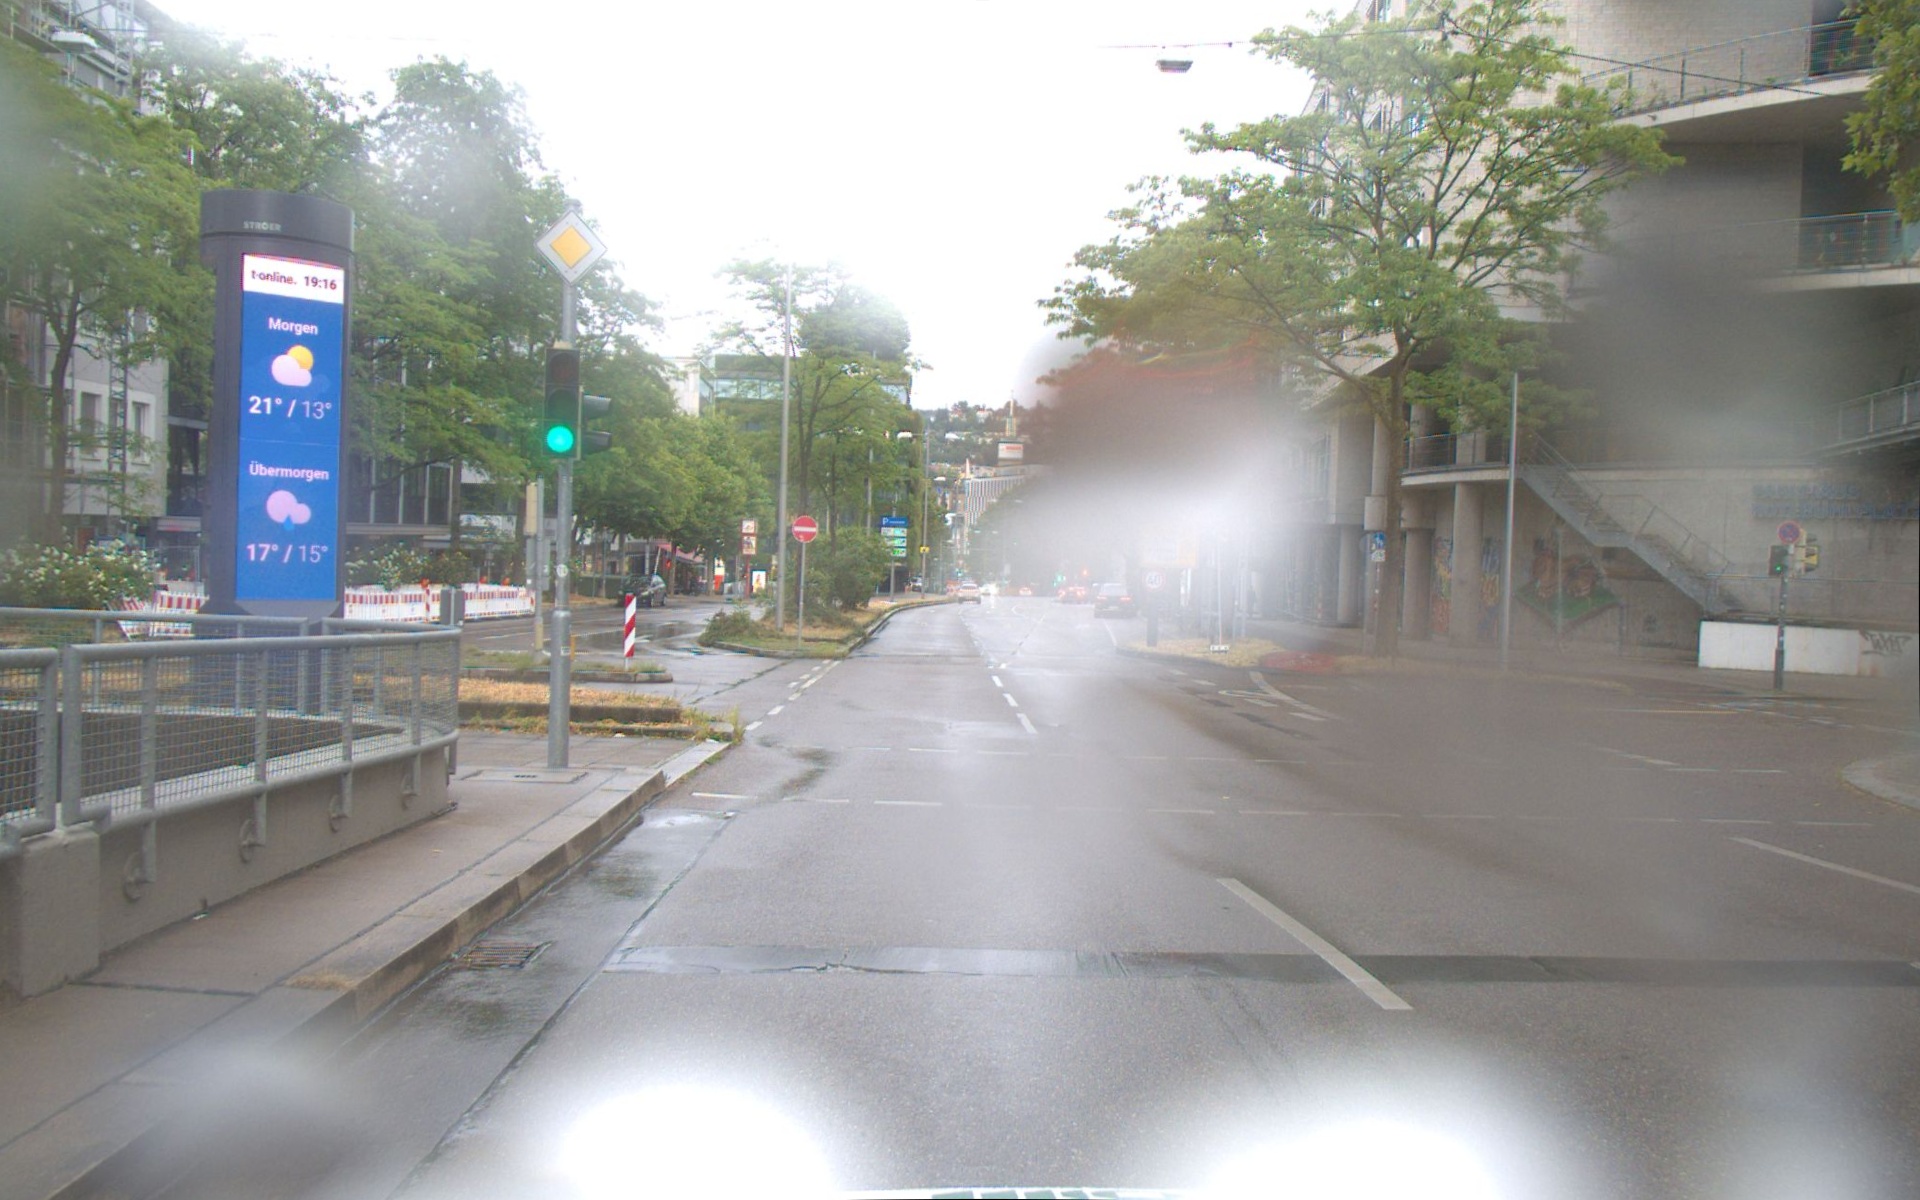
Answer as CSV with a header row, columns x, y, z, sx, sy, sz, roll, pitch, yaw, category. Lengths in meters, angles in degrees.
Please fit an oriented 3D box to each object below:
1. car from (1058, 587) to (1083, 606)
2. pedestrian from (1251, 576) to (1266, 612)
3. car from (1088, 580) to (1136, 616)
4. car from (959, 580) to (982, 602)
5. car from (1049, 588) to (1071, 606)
x,y,z,sx,sy,sz,roll,pitch,yaw,category
10.346,-0.304,155.637,1.953,1.754,3.998,1,-1,-2,car
16.351,-0.323,90.655,0.759,1.954,0.703,1,-1,9,pedestrian
7.686,-0.124,83.344,2.288,1.721,4.003,1,0,6,car
0.867,-0.743,138.198,1.791,1.668,4.301,2,0,1,car
10.057,-0.322,166.765,1.953,1.766,3.999,1,-1,-1,car
